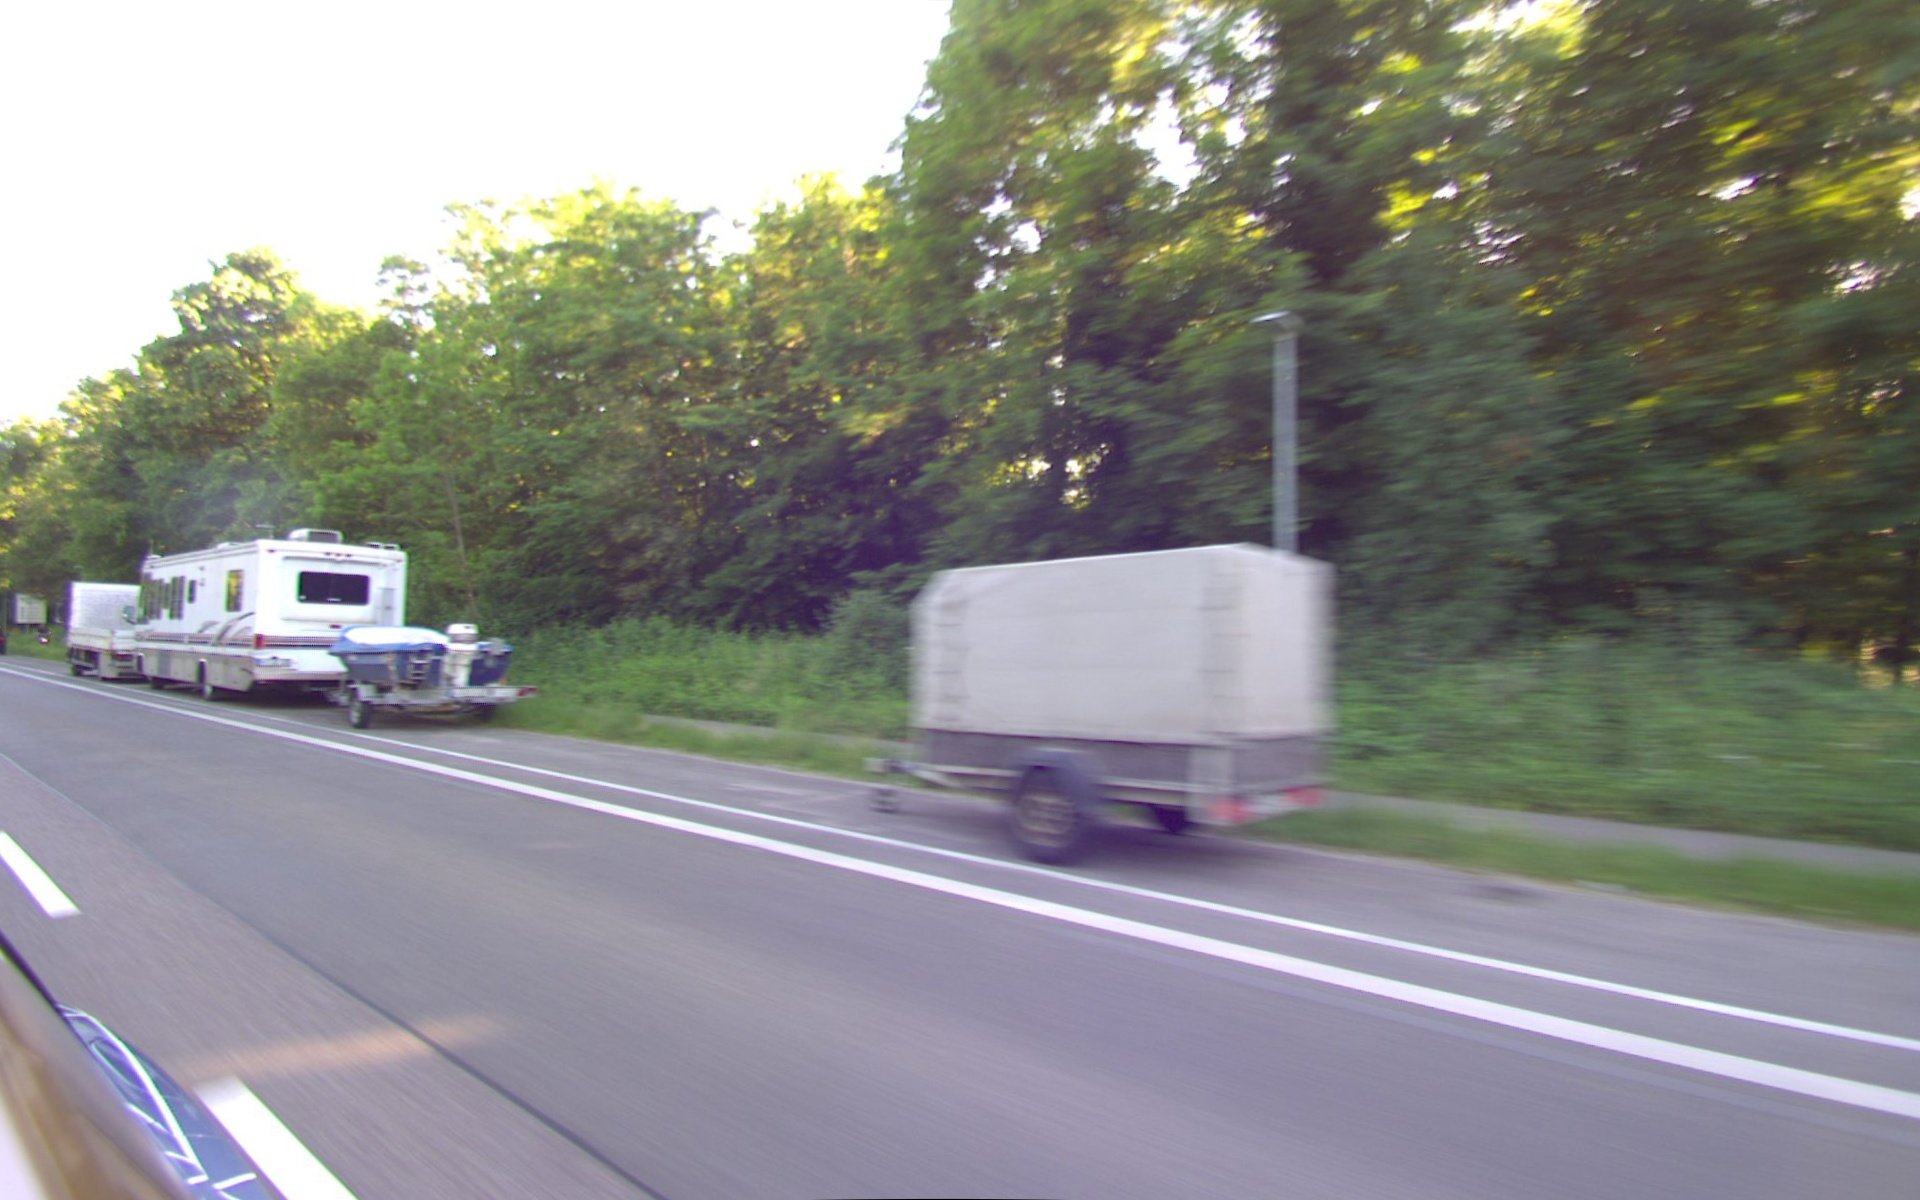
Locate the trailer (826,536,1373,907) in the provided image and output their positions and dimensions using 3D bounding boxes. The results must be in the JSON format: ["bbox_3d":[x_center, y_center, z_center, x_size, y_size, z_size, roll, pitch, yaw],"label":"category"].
[{"bbox_3d":[0.908,0.744,7.440,3.560,2.029,1.833,-1,-5,42],"label":"trailer"}]

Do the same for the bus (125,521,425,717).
[{"bbox_3d":[-15.677,0.383,22.572,11.194,3.457,2.799,-1,-1,41],"label":"bus"}]

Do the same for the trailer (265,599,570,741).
[{"bbox_3d":[-9.131,1.020,16.721,6.260,1.929,2.403,-2,-1,41],"label":"trailer"}]

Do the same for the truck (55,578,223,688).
[{"bbox_3d":[-24.314,0.936,29.784,8.419,2.845,2.457,-2,-1,41],"label":"truck"}]
